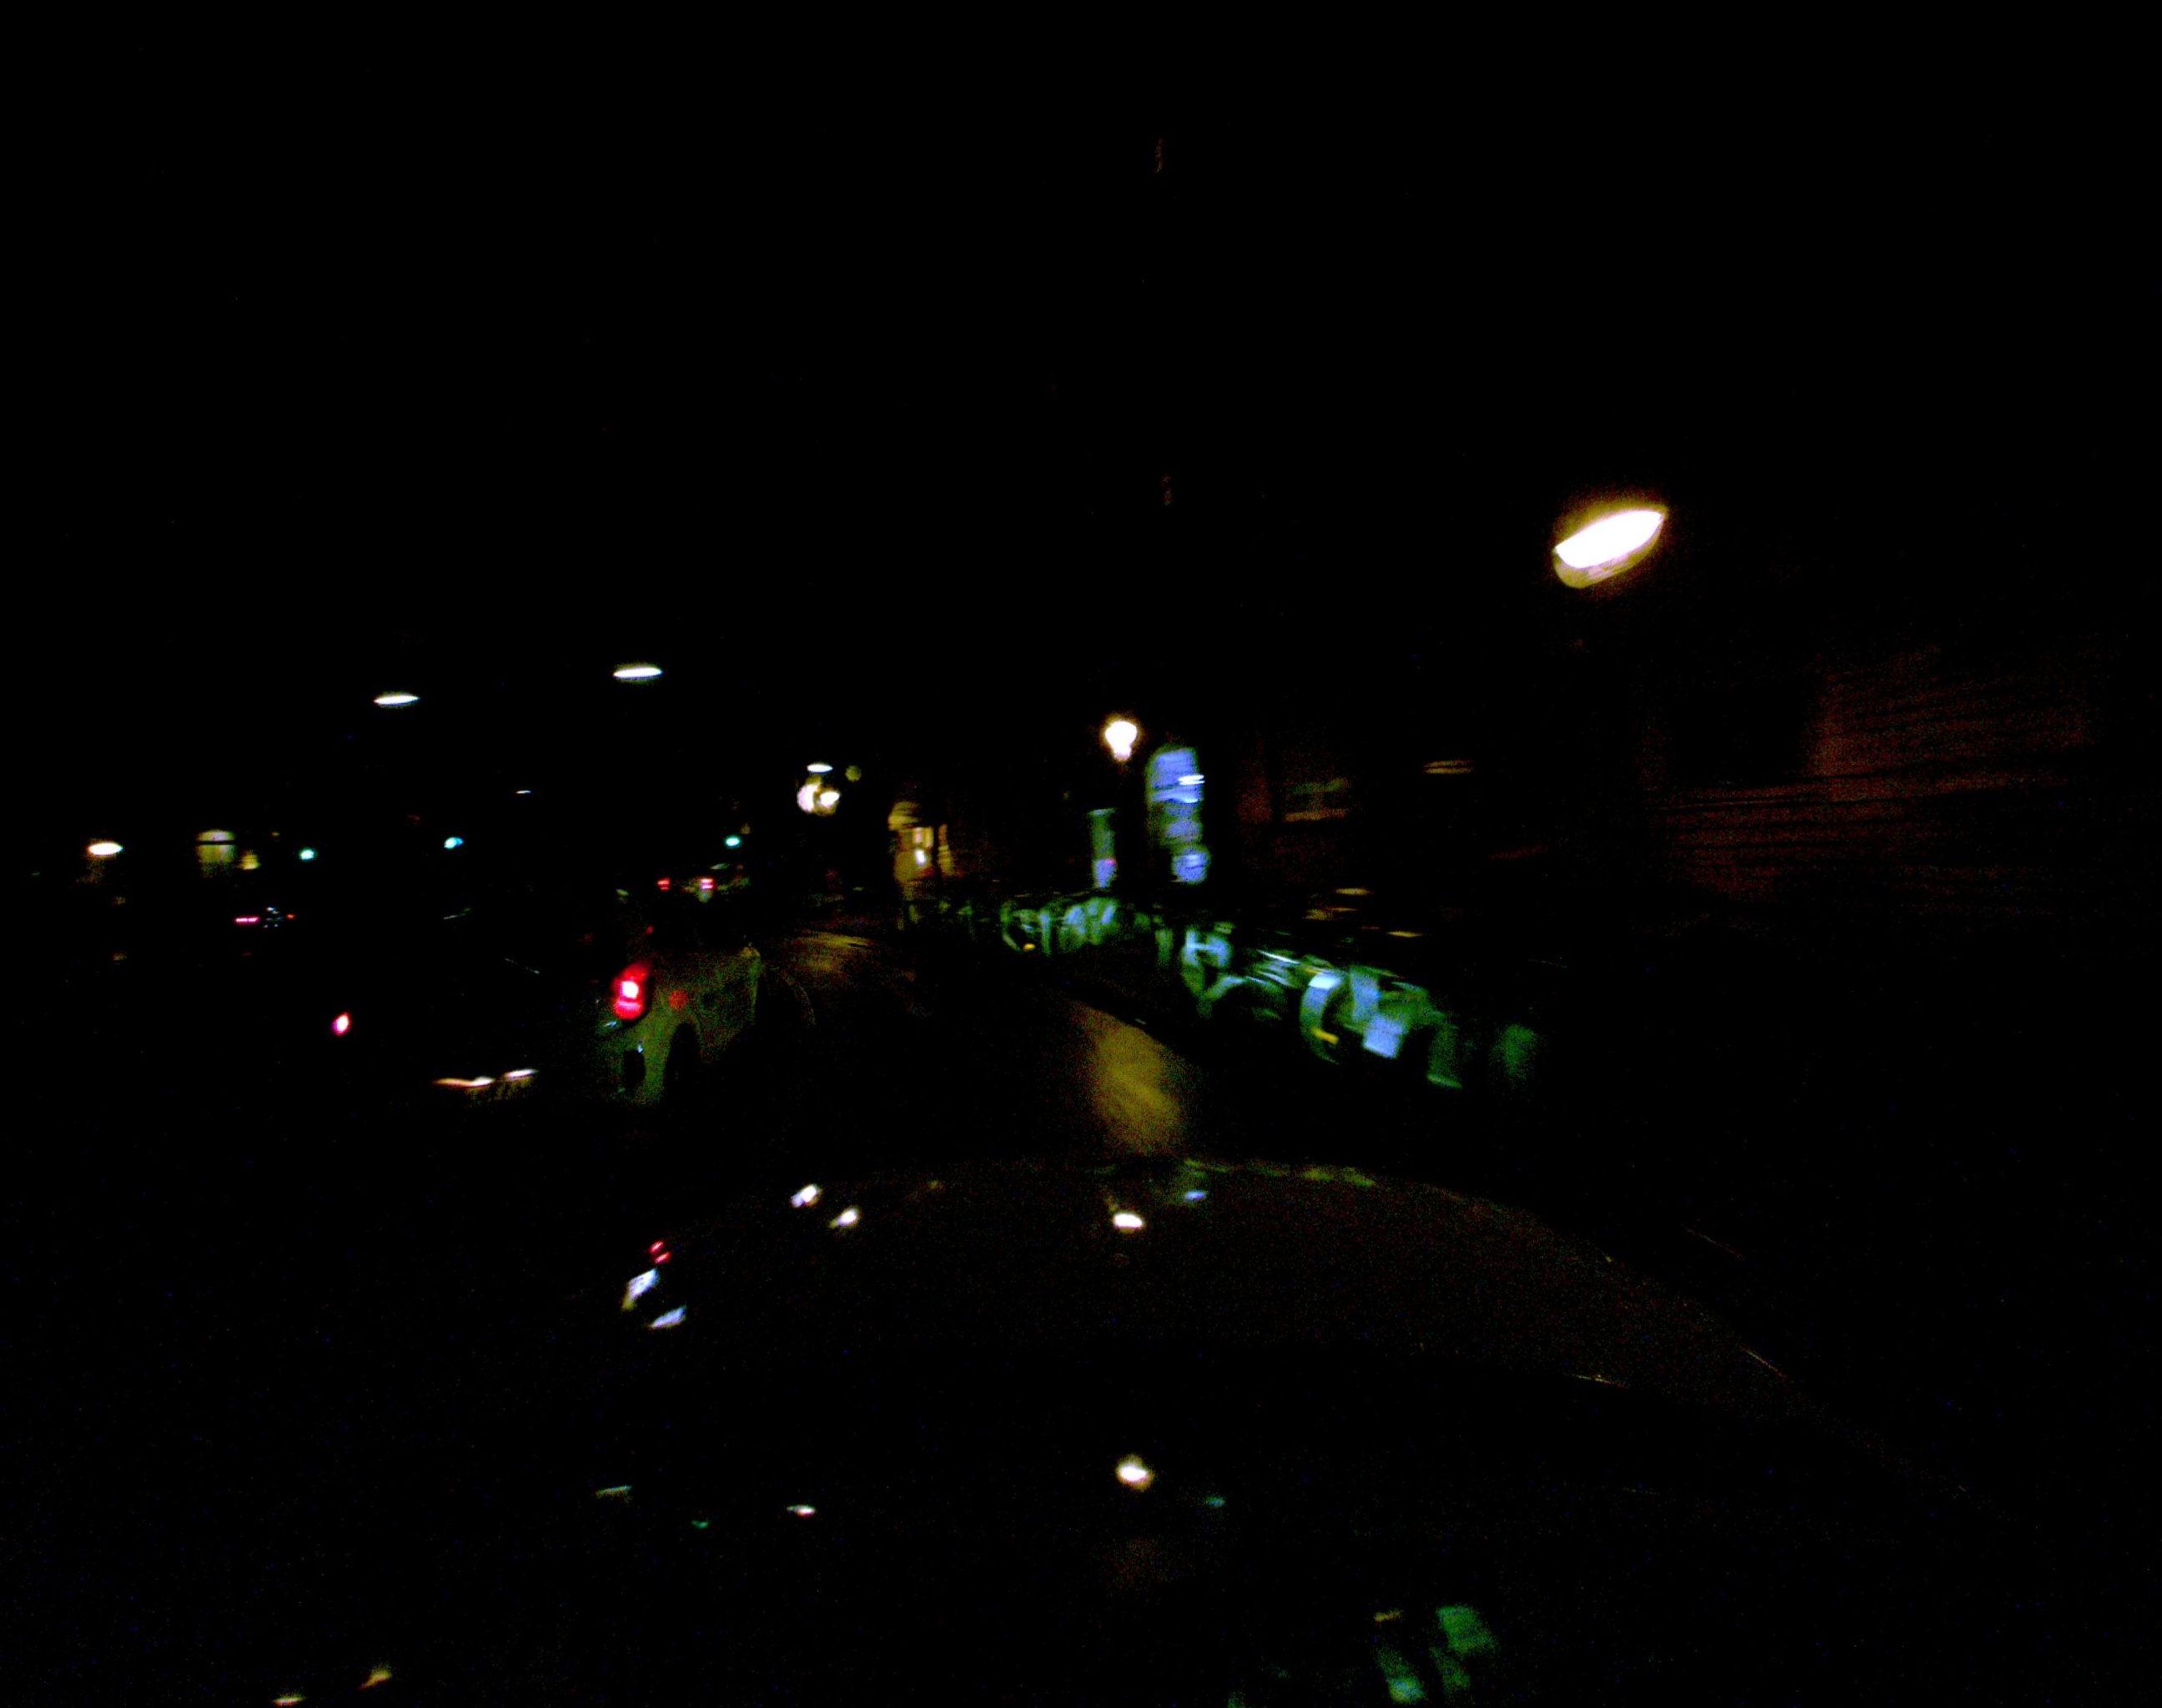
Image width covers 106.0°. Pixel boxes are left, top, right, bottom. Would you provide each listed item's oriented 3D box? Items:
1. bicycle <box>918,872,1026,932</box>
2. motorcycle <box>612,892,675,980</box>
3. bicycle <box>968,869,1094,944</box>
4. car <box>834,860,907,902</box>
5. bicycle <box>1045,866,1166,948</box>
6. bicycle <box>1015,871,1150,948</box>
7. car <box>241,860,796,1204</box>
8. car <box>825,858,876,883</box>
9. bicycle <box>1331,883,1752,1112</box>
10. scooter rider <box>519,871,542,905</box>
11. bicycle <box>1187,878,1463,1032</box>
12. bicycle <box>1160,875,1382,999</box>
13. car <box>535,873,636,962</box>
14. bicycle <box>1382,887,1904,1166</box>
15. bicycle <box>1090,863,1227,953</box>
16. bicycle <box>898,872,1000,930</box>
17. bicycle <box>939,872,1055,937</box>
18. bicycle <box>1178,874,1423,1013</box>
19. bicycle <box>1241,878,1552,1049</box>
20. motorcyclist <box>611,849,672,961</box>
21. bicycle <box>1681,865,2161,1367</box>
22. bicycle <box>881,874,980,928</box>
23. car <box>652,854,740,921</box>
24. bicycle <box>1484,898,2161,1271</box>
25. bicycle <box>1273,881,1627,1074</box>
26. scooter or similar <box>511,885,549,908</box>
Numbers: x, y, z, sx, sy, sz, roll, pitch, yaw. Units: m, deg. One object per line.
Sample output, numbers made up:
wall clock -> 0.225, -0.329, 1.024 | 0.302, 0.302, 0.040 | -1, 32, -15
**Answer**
bicycle -> -2.147, 0.924, 16.124 | 1.982, 1.006, 0.636 | -4, 0, -32
motorcycle -> -7.011, 1.245, 13.012 | 0.794, 1.213, 2.228 | -1, -1, -30
bicycle -> -0.819, 0.846, 13.652 | 1.982, 1.065, 0.636 | -4, 0, -32
car -> -9.373, 1.167, 36.540 | 1.637, 1.524, 3.591 | -7, 0, 10
bicycle -> 0.406, 0.776, 12.403 | 0.634, 1.053, 1.987 | -4, 0, 43
bicycle -> 0.011, 0.828, 12.472 | 1.964, 1.006, 0.641 | -4, 0, -4
car -> -3.393, 0.875, 5.883 | 1.920, 1.515, 3.584 | -4, 1, -11
car -> -19.450, 1.350, 69.127 | 1.981, 1.825, 5.325 | 0, 2, 10
bicycle -> 2.487, 0.740, 4.515 | 1.964, 1.006, 0.641 | -4, 0, -4
scooter rider -> -26.192, 1.625, 38.731 | 0.634, 1.573, 0.656 | -1, -1, 22
bicycle -> 1.907, 0.769, 6.506 | 1.964, 1.006, 0.641 | -4, 0, -4
bicycle -> 1.818, 0.784, 7.951 | 1.964, 1.006, 0.641 | -4, 0, -4
car -> -11.305, 1.358, 18.521 | 1.761, 1.739, 3.759 | -1, -1, -33
bicycle -> 2.533, 0.735, 3.801 | 1.964, 1.006, 0.687 | -4, 0, -4
bicycle -> 1.119, 0.727, 11.583 | 1.832, 1.087, 0.714 | -4, 0, -32
bicycle -> -2.775, 0.966, 17.243 | 1.982, 1.034, 0.636 | -4, 0, -32
bicycle -> -1.508, 0.896, 14.865 | 1.982, 1.006, 0.636 | -4, 0, -32
bicycle -> 1.917, 0.763, 7.255 | 1.964, 1.033, 0.641 | -4, 0, -4
bicycle -> 2.235, 0.751, 5.885 | 1.964, 1.006, 0.641 | -4, 0, -4
motorcyclist -> -7.003, 0.794, 12.975 | 0.794, 1.695, 0.812 | -1, -1, -30
bicycle -> 3.030, 0.646, 2.440 | 1.922, 1.115, 0.729 | -4, 0, -4
bicycle -> -3.282, 1.002, 17.803 | 1.982, 1.006, 0.636 | -4, 0, -32
car -> -15.647, 1.273, 33.443 | 2.220, 2.441, 5.357 | -2, 0, -15
bicycle -> 2.612, 0.733, 2.945 | 1.922, 0.987, 0.729 | -4, 0, -4
bicycle -> 2.319, 0.747, 5.240 | 1.964, 1.006, 0.641 | -4, 0, -4
scooter or similar -> -26.194, 2.017, 38.716 | 0.634, 1.052, 1.376 | -1, 0, 22
